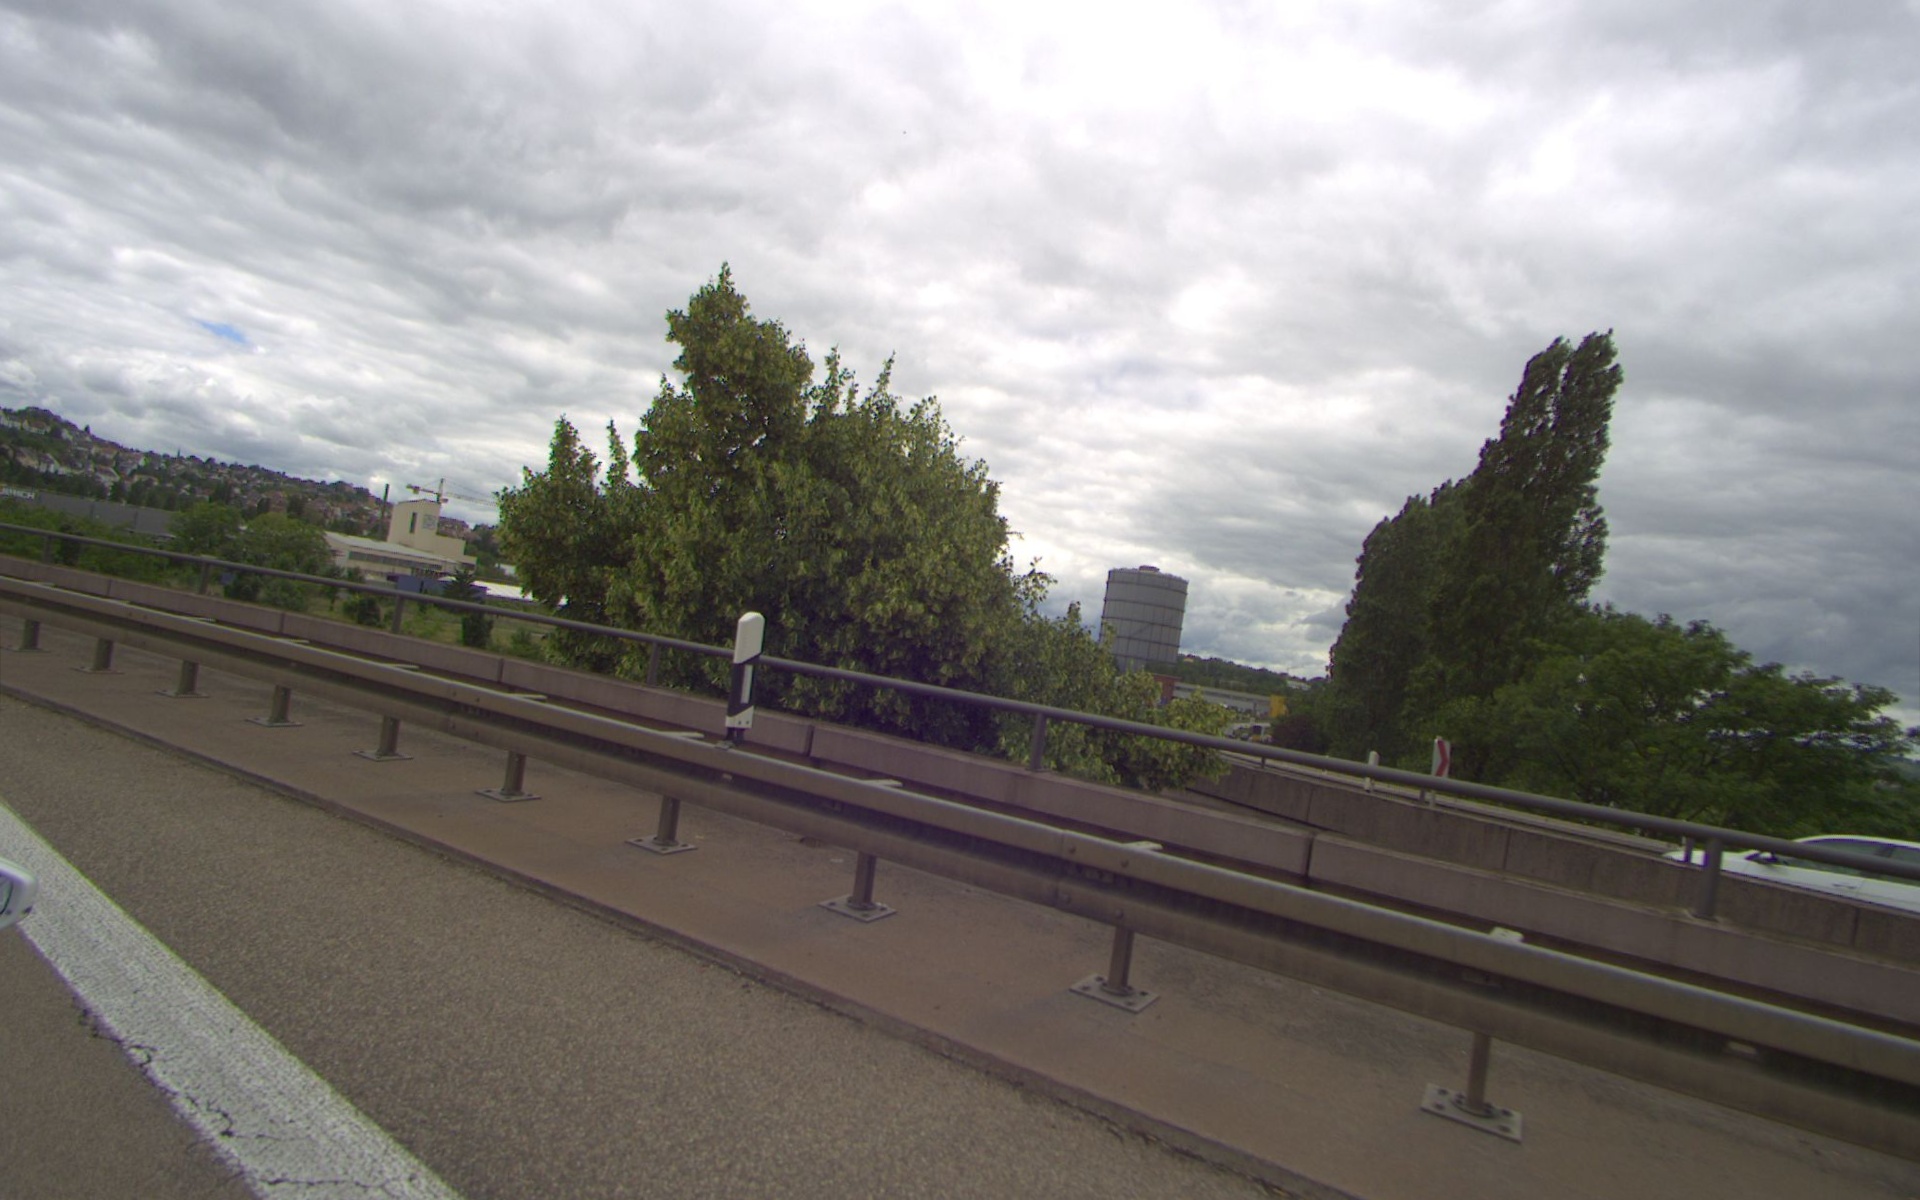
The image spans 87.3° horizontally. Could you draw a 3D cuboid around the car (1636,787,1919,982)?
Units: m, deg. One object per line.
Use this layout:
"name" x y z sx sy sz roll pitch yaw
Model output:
"car" 10.249 3.292 11.293 1.719 1.494 3.978 12 -5 -25
